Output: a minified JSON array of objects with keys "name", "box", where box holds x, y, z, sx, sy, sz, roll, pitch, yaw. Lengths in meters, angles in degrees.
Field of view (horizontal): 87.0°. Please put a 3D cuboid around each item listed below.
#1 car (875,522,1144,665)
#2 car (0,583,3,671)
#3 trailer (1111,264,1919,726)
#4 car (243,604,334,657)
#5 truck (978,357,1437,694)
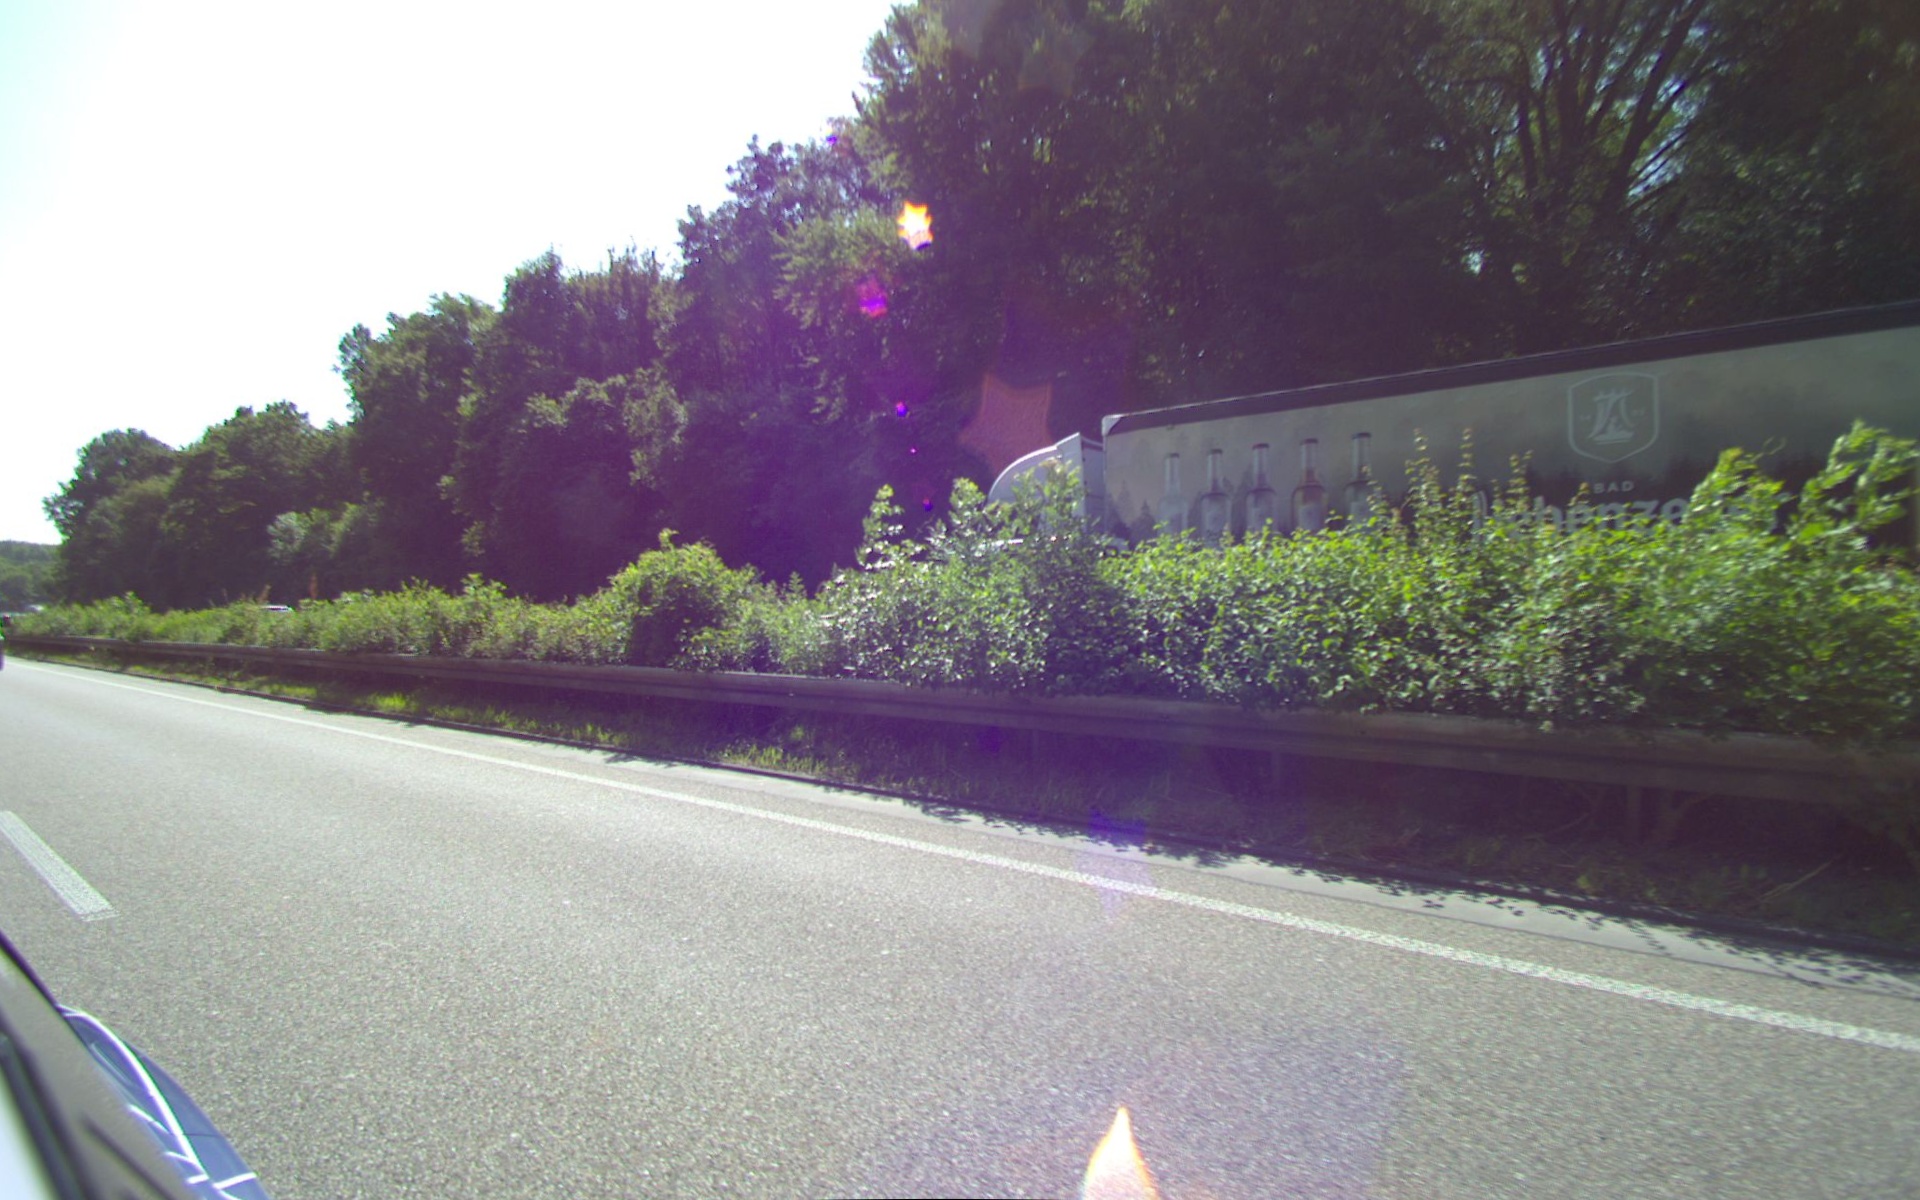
[{"name":"car","box":[0.611,-0.070,13.942,3.479,1.719,1.590,-1,0,41]},{"name":"car","box":[-29.115,0.780,28.994,4.635,2.462,2.020,-1,0,41]},{"name":"trailer","box":[8.358,-0.974,11.920,13.657,4.332,2.799,-1,0,41]},{"name":"car","box":[-23.680,1.035,35.633,4.280,1.719,1.590,-1,0,41]},{"name":"truck","box":[3.666,-0.930,16.034,6.533,4.276,2.689,-1,0,41]}]
